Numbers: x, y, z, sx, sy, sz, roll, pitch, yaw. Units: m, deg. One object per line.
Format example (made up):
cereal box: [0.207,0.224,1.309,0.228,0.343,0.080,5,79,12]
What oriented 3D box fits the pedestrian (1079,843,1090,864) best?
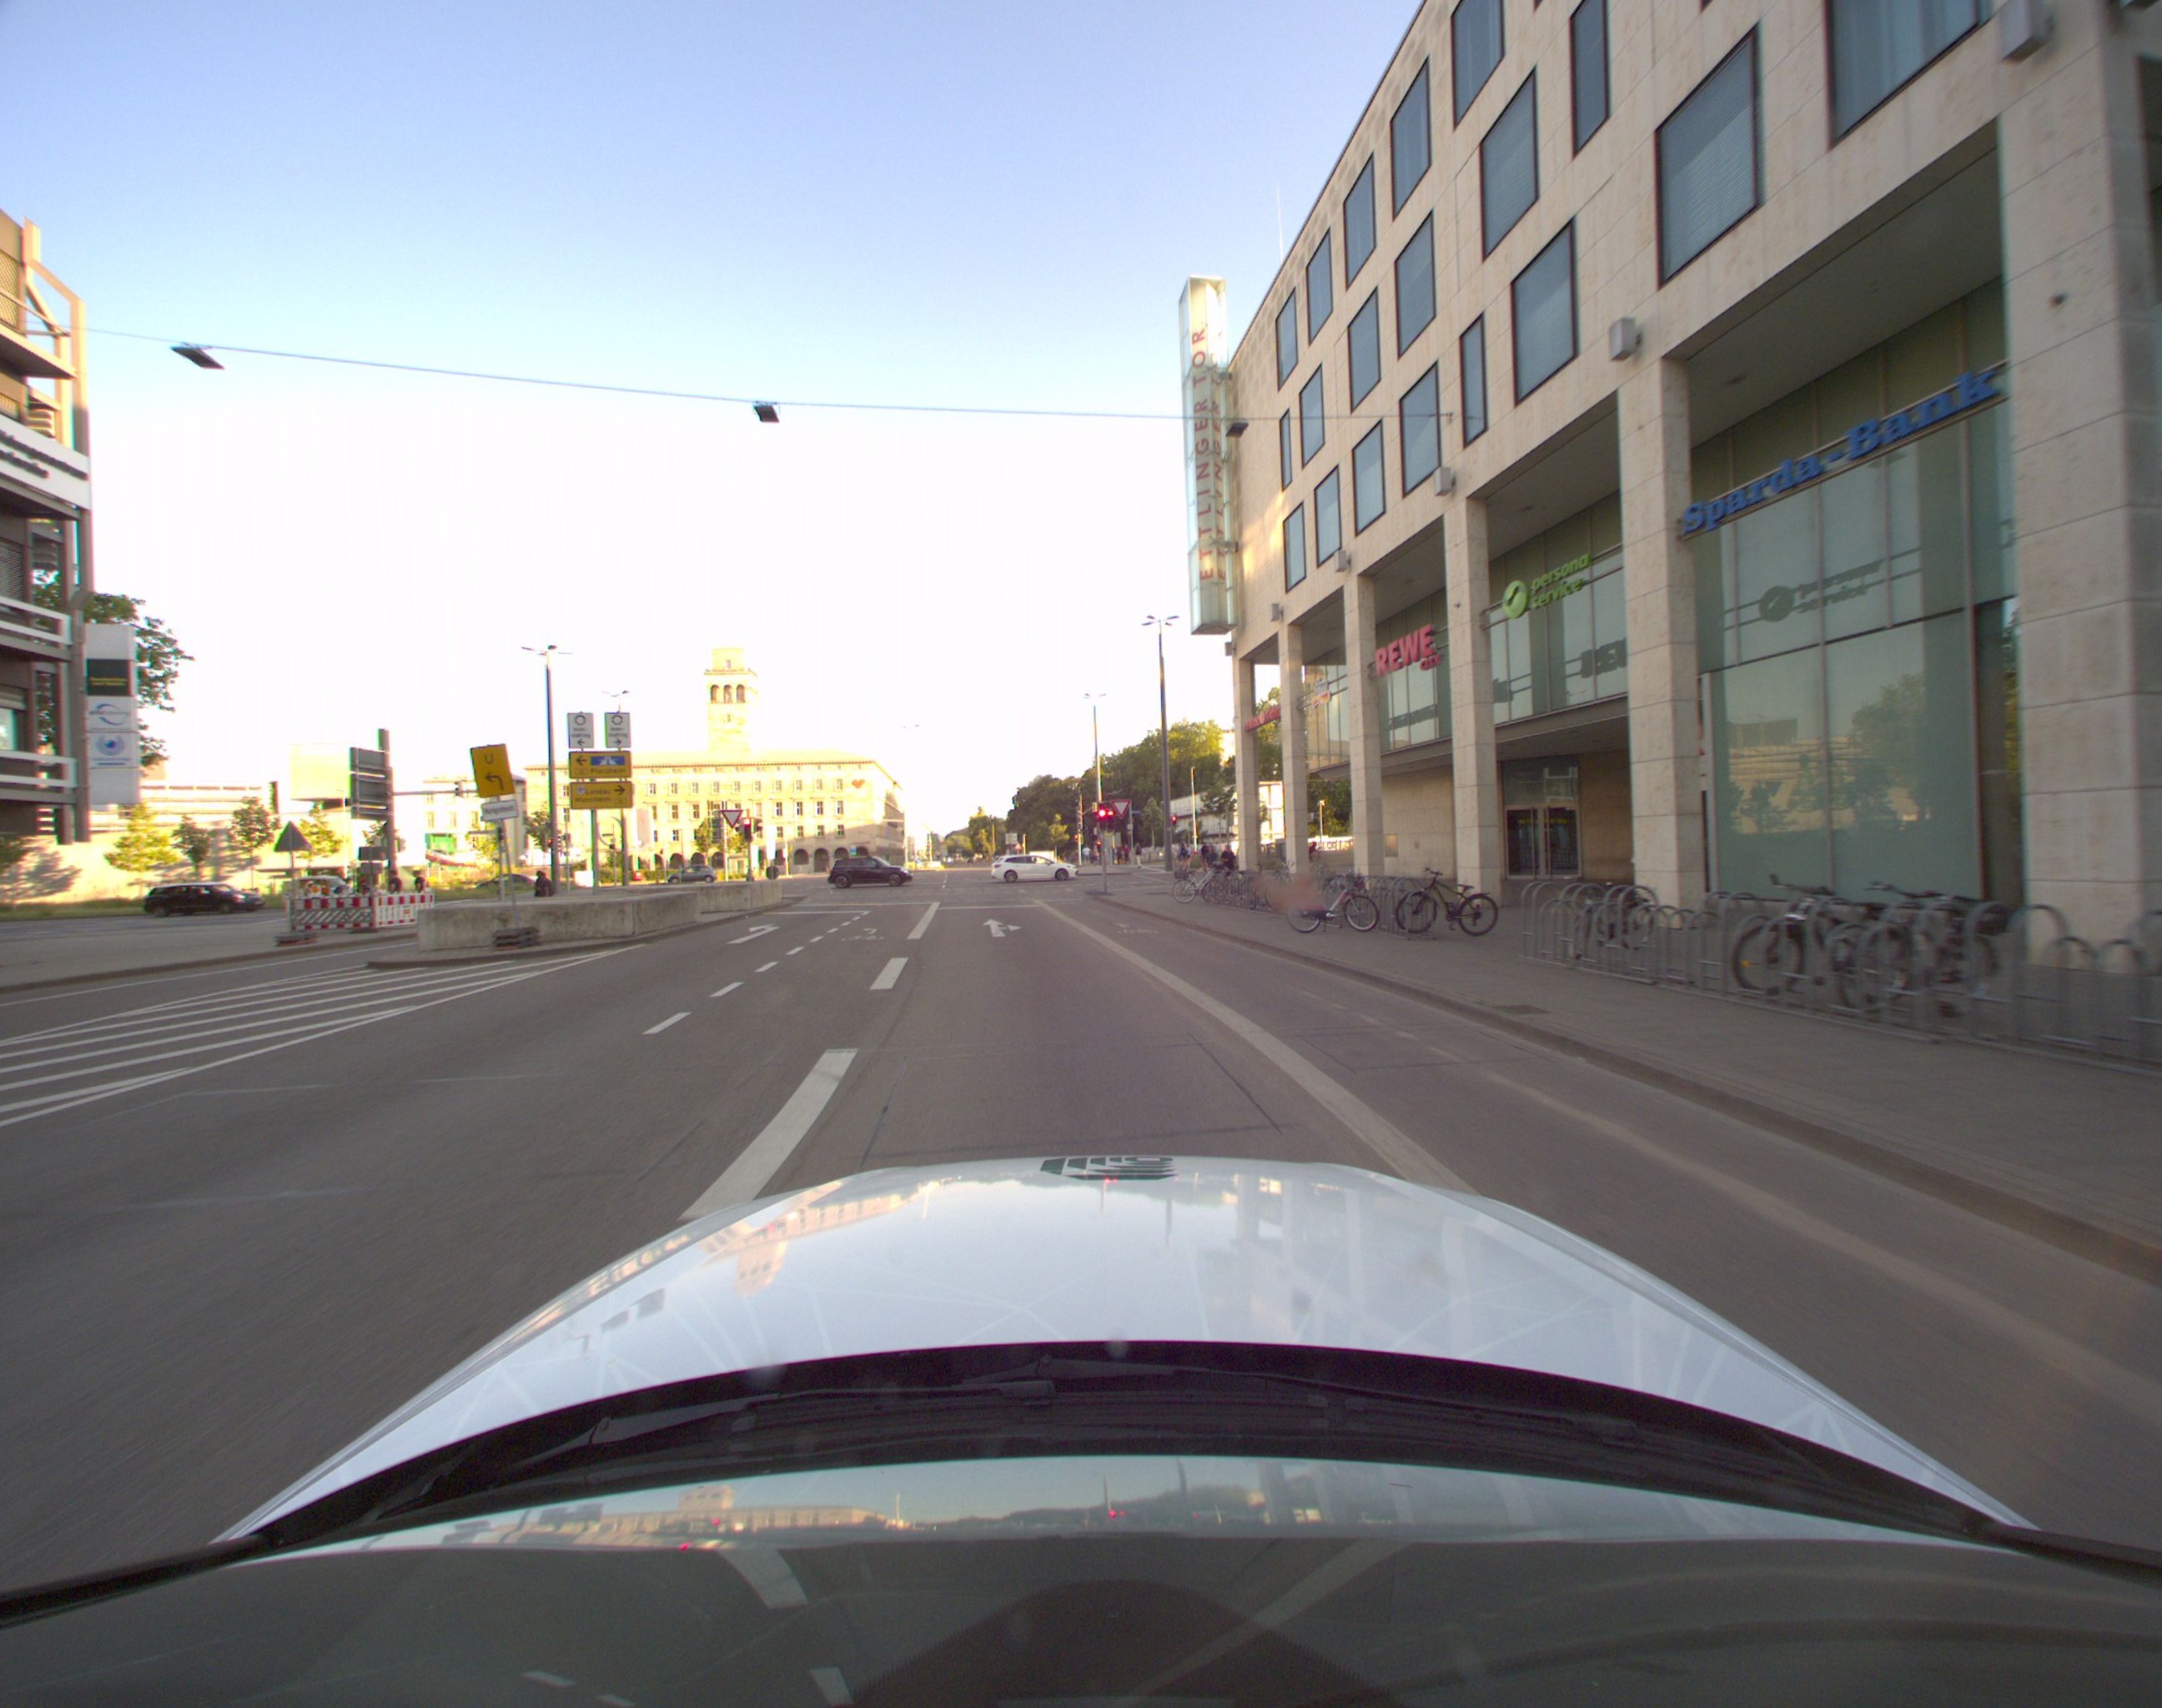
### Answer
pedestrian: [0.295,-0.003,68.647,0.808,1.730,0.685,-2,0,-10]

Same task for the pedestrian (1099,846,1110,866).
pedestrian: [2.019,0.182,69.926,0.804,1.730,0.689,-2,0,4]

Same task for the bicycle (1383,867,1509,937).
bicycle: [5.980,0.776,13.395,1.811,1.100,0.600,0,0,-2]

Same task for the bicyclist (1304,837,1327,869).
bicyclist: [11.709,-0.066,40.717,0.879,1.531,0.652,-2,0,-8]

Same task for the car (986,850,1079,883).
car: [-2.661,0.647,43.797,4.796,1.495,2.121,-2,0,-9]

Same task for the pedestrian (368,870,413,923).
pedestrian: [-24.685,1.500,29.124,0.736,1.776,0.863,-5,1,-2]

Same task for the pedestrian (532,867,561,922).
pedestrian: [-17.892,1.341,27.277,0.744,1.777,0.854,-2,0,-34]

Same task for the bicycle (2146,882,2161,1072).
bicycle: [7.326,0.704,4.740,1.762,1.129,0.515,-2,0,-6]

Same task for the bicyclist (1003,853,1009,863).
bicyclist: [-9.429,0.465,102.137,0.652,1.223,0.858,-2,0,-12]

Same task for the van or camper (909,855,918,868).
van or camper: [-36.493,1.550,177.482,1.886,2.760,4.910,-2,0,-13]

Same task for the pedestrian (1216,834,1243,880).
pedestrian: [5.993,0.134,32.824,0.755,1.776,0.739,-5,1,-8]

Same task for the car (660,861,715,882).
car: [-31.373,1.409,65.016,3.721,1.453,1.538,-2,0,-15]

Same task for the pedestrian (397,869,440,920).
pedestrian: [-24.457,1.482,30.087,0.736,1.776,0.863,-5,1,-1]

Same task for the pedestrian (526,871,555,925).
pedestrian: [-18.451,1.487,27.809,0.743,1.777,0.855,-1,0,-31]

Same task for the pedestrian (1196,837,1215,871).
pedestrian: [7.016,-0.008,45.943,0.890,1.830,0.688,-2,0,0]

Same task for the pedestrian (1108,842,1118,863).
pedestrian: [2.736,-0.151,69.265,0.804,1.730,0.689,-2,0,4]

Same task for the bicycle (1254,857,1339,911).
bicycle: [5.144,0.702,19.505,1.867,1.260,0.671,0,0,-10]

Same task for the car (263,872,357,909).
car: [-40.390,1.895,42.758,3.144,1.685,1.600,-2,0,-22]

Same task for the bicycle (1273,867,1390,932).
bicycle: [4.466,0.793,14.561,1.894,1.047,0.570,-2,0,-4]

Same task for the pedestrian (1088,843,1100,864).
pedestrian: [1.085,-0.011,68.918,0.808,1.730,0.685,-2,0,-10]

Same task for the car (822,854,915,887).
car: [-11.021,0.841,42.531,4.460,1.495,2.121,-2,0,-9]

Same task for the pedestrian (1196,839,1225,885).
pedestrian: [5.206,0.329,32.786,0.860,1.776,0.739,-5,1,-8]

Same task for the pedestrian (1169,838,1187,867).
pedestrian: [5.975,-0.080,50.152,0.891,1.730,0.687,-2,0,-5]

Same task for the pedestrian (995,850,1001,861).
pedestrian: [-10.100,0.162,98.989,0.523,1.374,0.685,-2,0,-12]

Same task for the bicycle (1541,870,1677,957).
bicycle: [7.069,0.763,10.906,1.708,1.023,0.596,-2,0,-20]

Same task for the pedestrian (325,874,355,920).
pedestrian: [-29.817,1.734,32.781,0.852,1.776,0.745,-4,1,45]

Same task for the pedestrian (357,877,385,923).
pedestrian: [-29.070,1.870,33.328,0.745,1.776,0.853,-5,1,-42]

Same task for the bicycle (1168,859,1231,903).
bicycle: [3.537,0.794,24.316,1.808,1.212,0.572,-2,0,7]

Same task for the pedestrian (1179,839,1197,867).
pedestrian: [6.721,-0.065,51.134,0.689,1.730,0.888,-2,0,-24]

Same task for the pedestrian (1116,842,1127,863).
pedestrian: [3.445,-0.137,69.355,0.808,1.730,0.685,-2,0,-10]

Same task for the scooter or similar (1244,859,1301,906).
scooter or similar: [4.995,0.723,21.272,1.276,1.160,0.671,-2,0,-10]

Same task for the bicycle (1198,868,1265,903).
bicycle: [4.450,0.913,24.067,1.867,0.936,0.514,-2,0,-10]

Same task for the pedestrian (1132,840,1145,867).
pedestrian: [3.805,-0.048,54.323,0.691,1.730,0.739,-2,0,-7]

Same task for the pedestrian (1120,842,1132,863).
pedestrian: [3.857,-0.141,69.984,0.691,1.730,0.802,-2,0,-35]

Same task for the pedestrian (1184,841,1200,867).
pedestrian: [7.645,-0.002,56.051,0.828,1.730,0.691,-2,0,21]

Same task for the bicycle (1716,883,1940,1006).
bicycle: [6.665,0.778,7.277,1.738,0.936,0.514,-2,0,-10]

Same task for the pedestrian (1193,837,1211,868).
pedestrian: [7.208,-0.091,48.545,0.891,1.840,0.687,-2,0,-4]

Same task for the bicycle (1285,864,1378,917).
bicycle: [5.442,0.777,17.756,1.868,1.113,0.569,0,0,-6]

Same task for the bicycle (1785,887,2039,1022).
bicycle: [6.777,0.786,6.652,1.808,0.936,0.514,-2,0,-10]

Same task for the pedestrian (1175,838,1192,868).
pedestrian: [6.120,-0.078,48.567,0.890,1.730,0.687,-2,0,-2]

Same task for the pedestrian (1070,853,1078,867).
pedestrian: [-0.927,0.755,102.460,0.808,1.730,0.926,-2,0,-10]

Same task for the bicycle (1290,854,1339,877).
bicycle: [11.681,0.580,40.713,2.241,1.062,0.651,-2,0,-9]

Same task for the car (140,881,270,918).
car: [-44.846,2.287,41.811,4.191,1.592,1.687,-2,0,-17]

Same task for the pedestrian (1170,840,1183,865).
pedestrian: [6.697,-0.115,56.976,0.831,1.730,0.689,-2,0,7]
